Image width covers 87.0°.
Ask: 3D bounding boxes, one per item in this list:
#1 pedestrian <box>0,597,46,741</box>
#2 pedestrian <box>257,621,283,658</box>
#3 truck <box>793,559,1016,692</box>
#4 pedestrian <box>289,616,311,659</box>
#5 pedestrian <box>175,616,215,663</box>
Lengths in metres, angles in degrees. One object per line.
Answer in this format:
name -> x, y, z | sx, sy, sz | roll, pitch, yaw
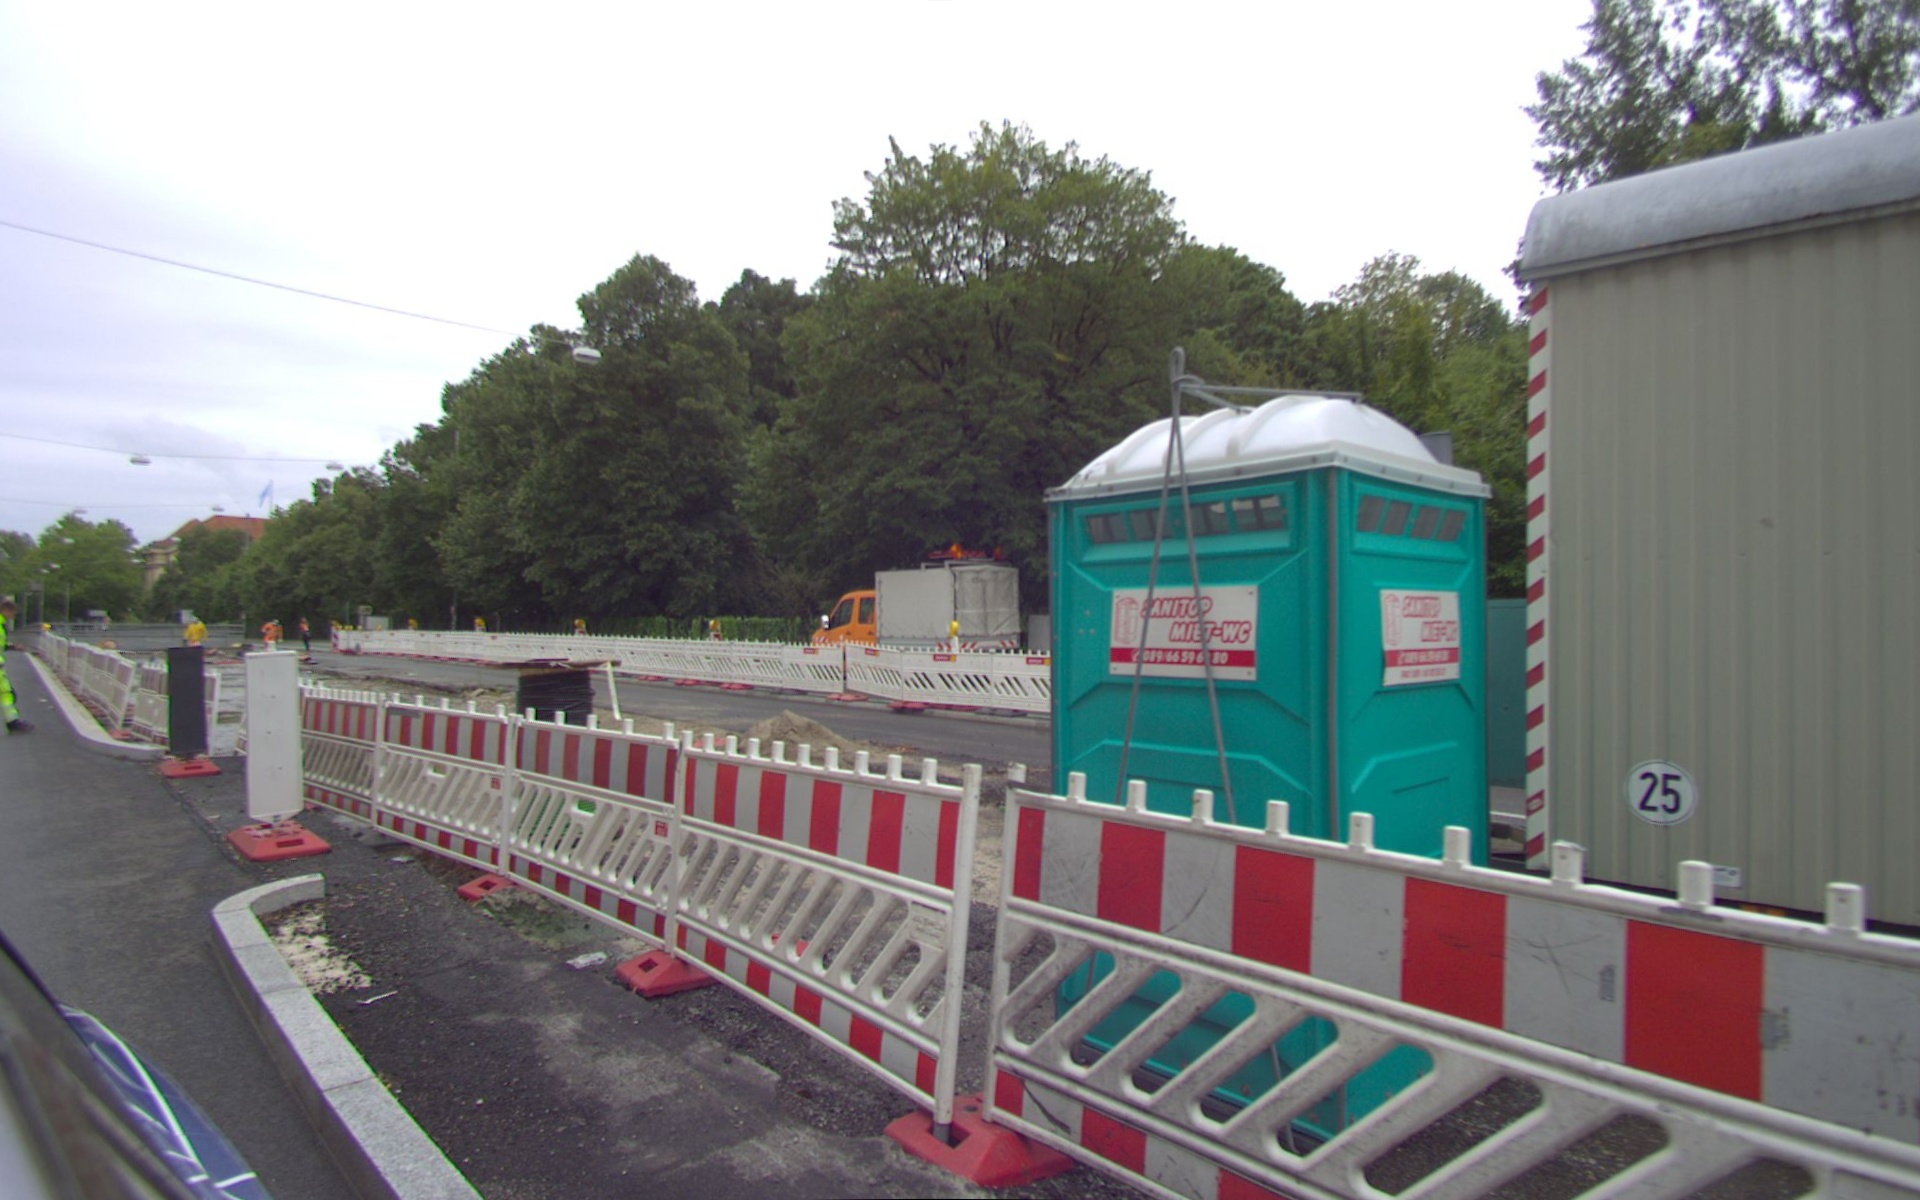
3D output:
pedestrian -> -12.492, 0.873, 12.904 | 0.810, 1.816, 0.984 | 0, -1, 25
pedestrian -> -32.166, 1.843, 47.174 | 0.886, 1.701, 0.912 | 3, -3, -41
truck -> -1.544, 0.648, 24.942 | 2.096, 2.871, 6.220 | 3, -3, -41
pedestrian -> -30.879, 1.749, 47.358 | 0.657, 1.985, 0.808 | 1, -2, -18
pedestrian -> -30.414, 1.578, 40.243 | 0.848, 1.850, 0.875 | 1, -2, -1
